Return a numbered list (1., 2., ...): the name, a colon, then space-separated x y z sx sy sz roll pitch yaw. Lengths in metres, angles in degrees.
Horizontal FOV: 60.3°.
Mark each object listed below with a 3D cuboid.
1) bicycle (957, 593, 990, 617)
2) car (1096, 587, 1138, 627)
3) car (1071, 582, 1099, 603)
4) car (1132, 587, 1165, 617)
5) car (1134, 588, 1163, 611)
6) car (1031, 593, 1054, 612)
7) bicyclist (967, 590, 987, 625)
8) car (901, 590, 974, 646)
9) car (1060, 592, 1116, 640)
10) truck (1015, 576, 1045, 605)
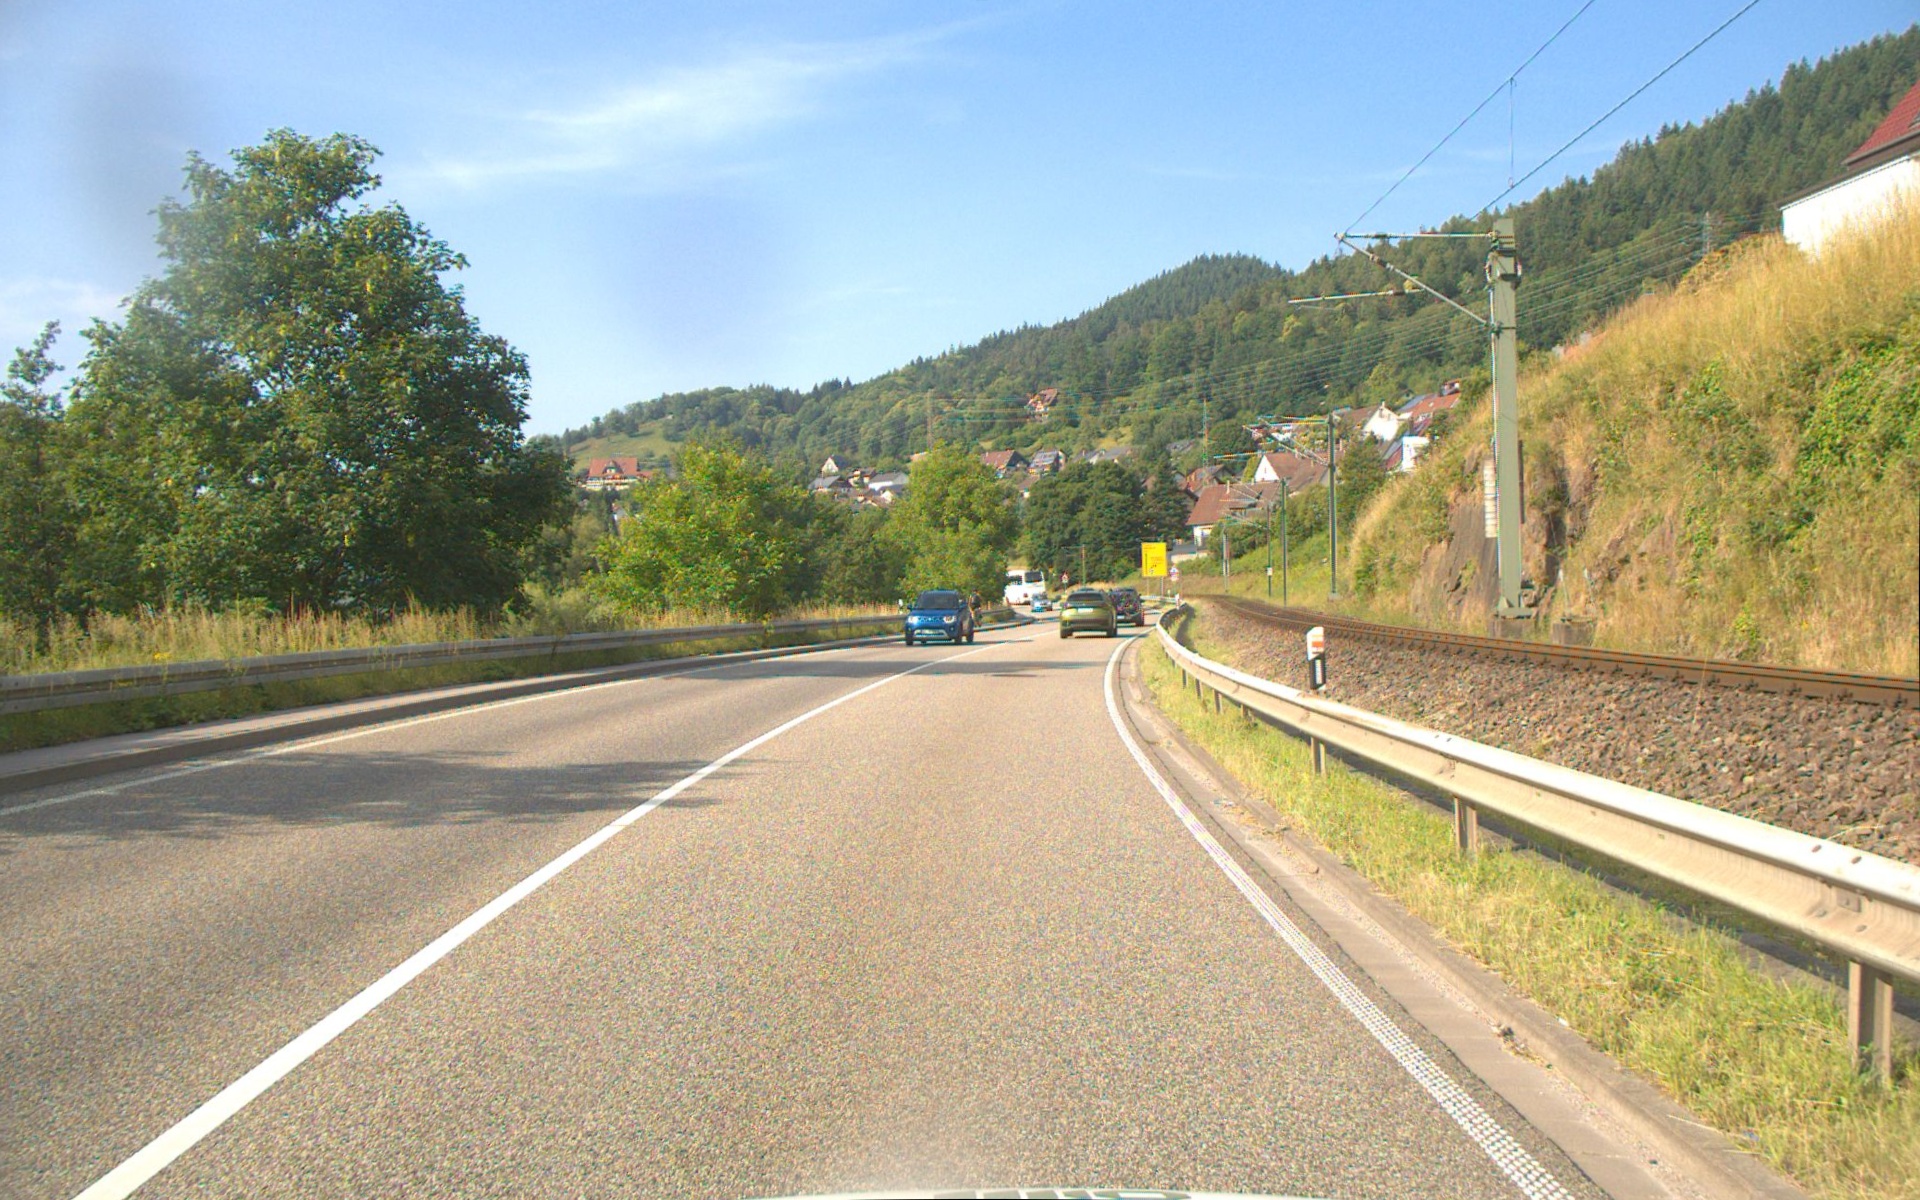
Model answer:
1. bicycle: 0.622 0.215 76.864 0.551 1.064 2.209 0 1 -27
2. car: 6.410 0.281 67.744 1.632 1.586 4.002 0 0 4
3. car: 11.396 -0.689 150.938 2.022 1.843 3.998 -1 1 -3
4. car: 11.075 0.134 96.996 1.840 1.716 4.003 0 0 7
5. car: 13.809 -0.029 121.149 1.810 1.553 3.664 -1 1 2
6. car: 7.150 0.186 142.897 1.544 1.505 4.003 3 1 8
7. bicyclist: 0.781 0.329 76.719 0.550 1.614 1.027 0 1 -26
8. car: -0.630 0.520 49.810 1.714 1.594 4.003 0 0 6
9. car: 4.129 0.493 53.812 1.679 1.480 4.001 -1 0 3
10. truck: 7.751 -1.066 184.424 2.658 3.138 6.103 0 0 -4
